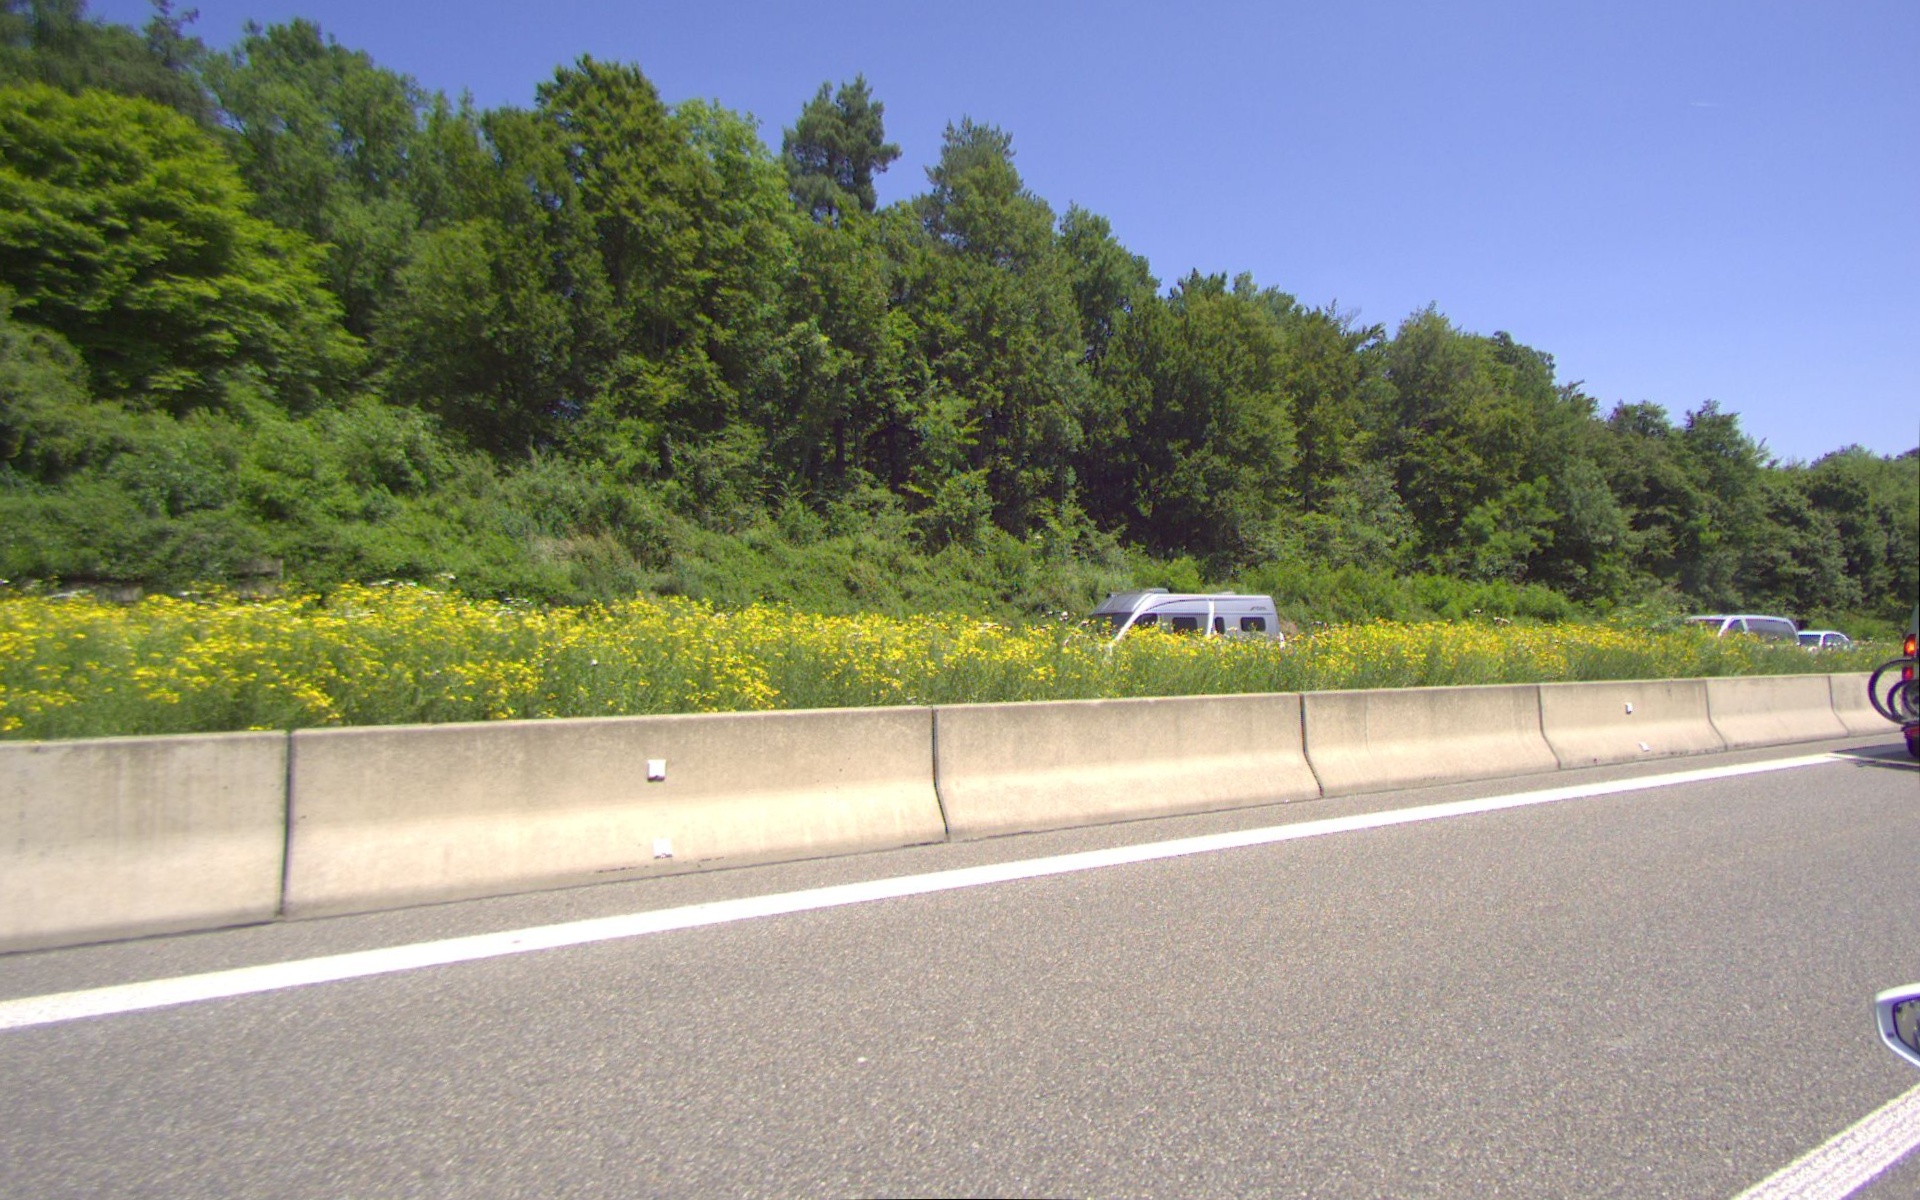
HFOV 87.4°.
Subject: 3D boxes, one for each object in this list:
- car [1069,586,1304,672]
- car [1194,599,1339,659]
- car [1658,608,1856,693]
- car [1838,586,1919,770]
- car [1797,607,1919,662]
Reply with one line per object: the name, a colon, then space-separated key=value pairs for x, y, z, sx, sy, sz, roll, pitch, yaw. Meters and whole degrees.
car: x=5.399 y=0.688 z=23.725 sx=5.440 sy=1.831 sz=2.035 roll=2 pitch=0 yaw=-29
car: x=10.013 y=0.943 z=32.779 sx=4.598 sy=1.831 sz=1.883 roll=1 pitch=0 yaw=-29
car: x=18.298 y=1.135 z=23.012 sx=4.837 sy=1.712 sz=1.841 roll=2 pitch=0 yaw=-29
car: x=12.230 y=0.838 z=11.375 sx=5.420 sy=1.872 sz=1.888 roll=1 pitch=0 yaw=-31
car: x=30.757 y=1.172 z=34.164 sx=4.774 sy=1.712 sz=1.903 roll=2 pitch=0 yaw=-29
